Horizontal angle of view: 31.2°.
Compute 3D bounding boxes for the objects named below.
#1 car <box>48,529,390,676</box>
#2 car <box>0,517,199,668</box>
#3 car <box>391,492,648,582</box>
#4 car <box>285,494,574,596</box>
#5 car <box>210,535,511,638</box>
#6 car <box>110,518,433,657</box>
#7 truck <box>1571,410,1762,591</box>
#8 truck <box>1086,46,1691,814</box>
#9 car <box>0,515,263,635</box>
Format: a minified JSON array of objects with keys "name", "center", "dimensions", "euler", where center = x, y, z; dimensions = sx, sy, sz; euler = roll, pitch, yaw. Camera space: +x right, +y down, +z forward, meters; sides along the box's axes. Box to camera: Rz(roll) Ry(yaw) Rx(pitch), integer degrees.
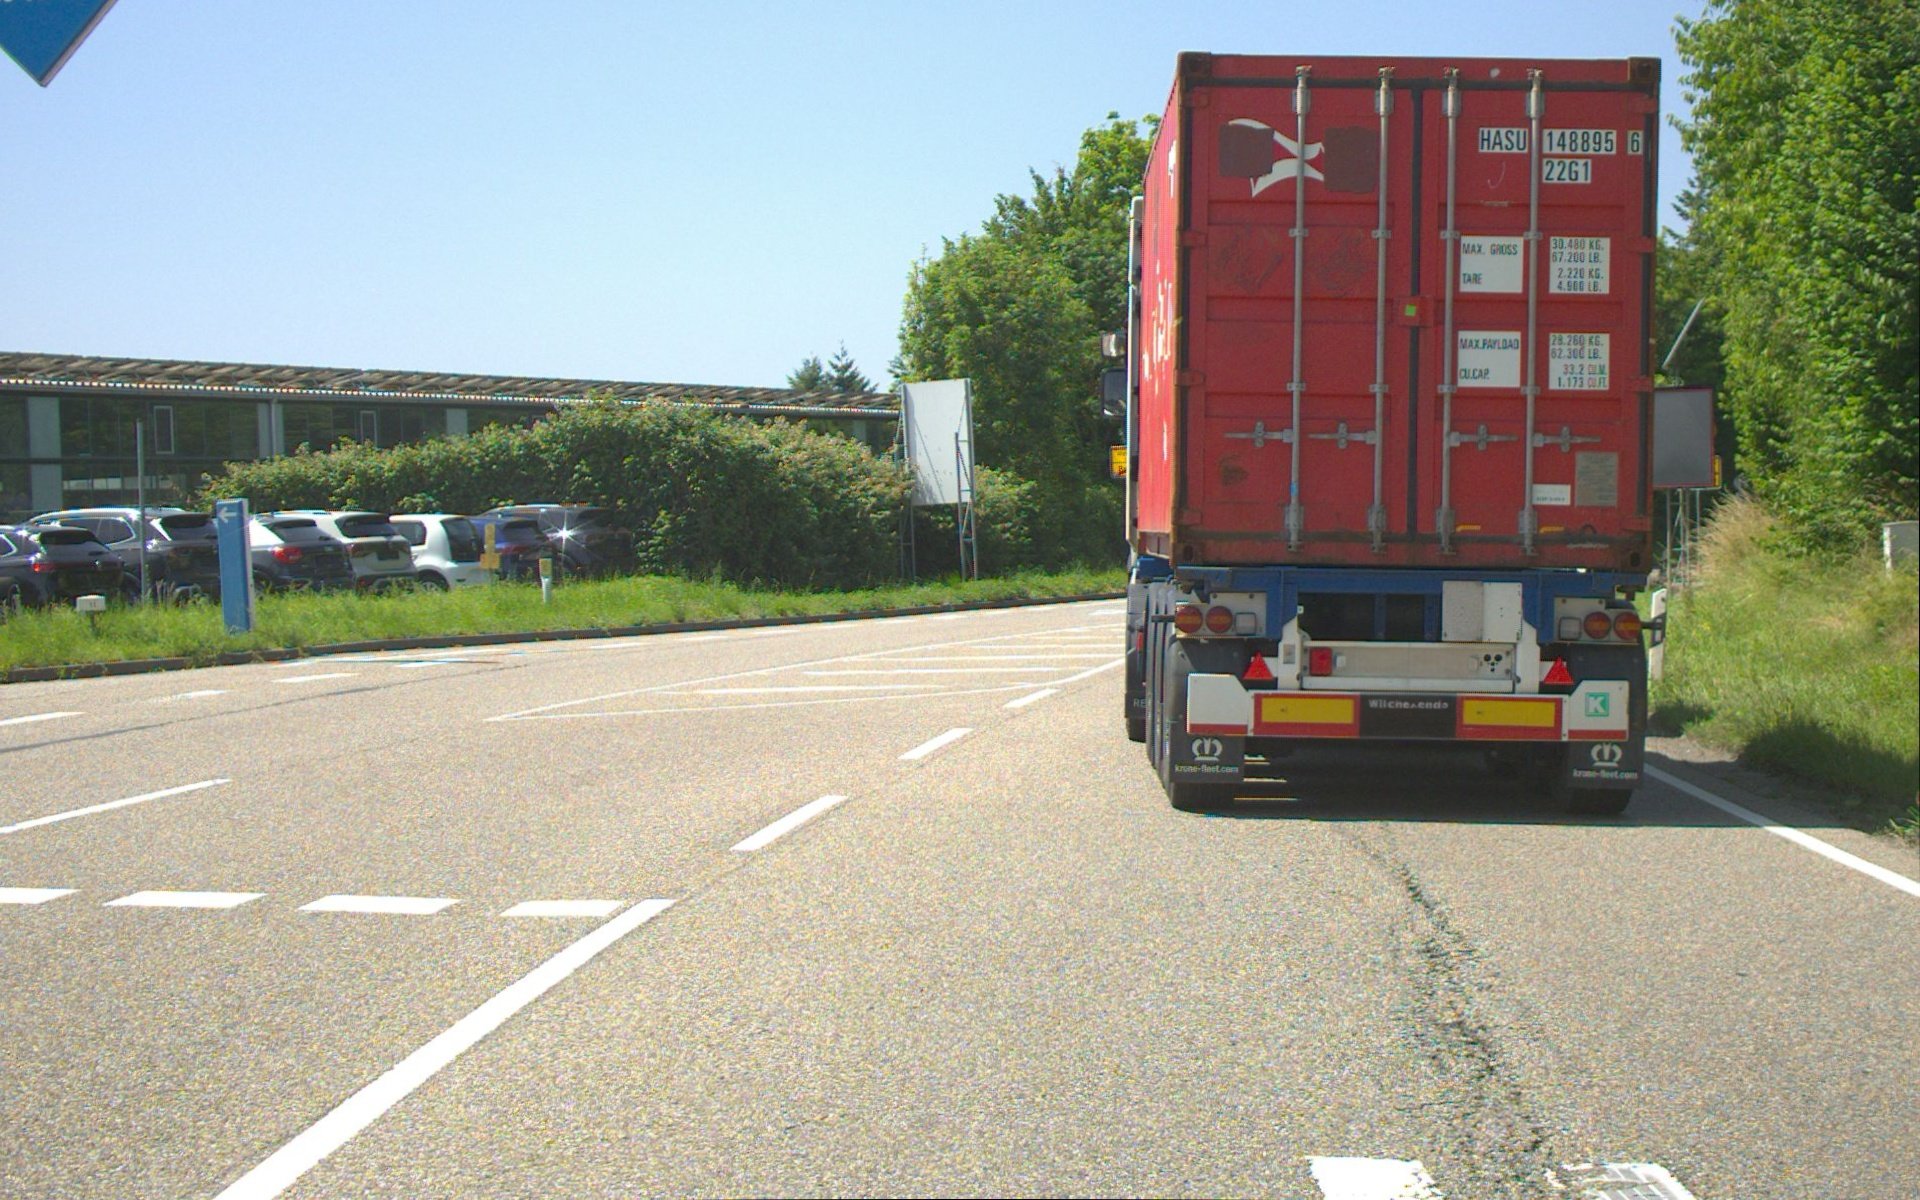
[{"name":"car","center":[-9.989,0.032,46.393],"dimensions":[3.991,1.744,1.998],"euler":[-3,1,22]},{"name":"car","center":[-11.487,-0.070,41.601],"dimensions":[3.991,1.744,1.998],"euler":[-1,0,22]},{"name":"car","center":[-7.119,-1.032,55.571],"dimensions":[3.701,1.368,1.801],"euler":[1,2,23]},{"name":"car","center":[-8.228,-0.854,53.422],"dimensions":[3.990,1.357,1.819],"euler":[-3,1,19]},{"name":"car","center":[-8.957,-0.204,51.402],"dimensions":[3.991,1.313,1.832],"euler":[-3,1,20]},{"name":"car","center":[-9.807,-0.188,48.994],"dimensions":[3.991,1.744,1.998],"euler":[-3,1,22]},{"name":"truck","center":[16.212,-2.252,78.070],"dimensions":[2.924,3.704,13.349],"euler":[-1,1,17]},{"name":"truck","center":[2.376,-0.990,23.820],"dimensions":[2.648,3.793,13.360],"euler":[1,1,1]},{"name":"car","center":[-11.120,-0.291,43.534],"dimensions":[3.991,1.327,1.998],"euler":[-3,1,22]}]
